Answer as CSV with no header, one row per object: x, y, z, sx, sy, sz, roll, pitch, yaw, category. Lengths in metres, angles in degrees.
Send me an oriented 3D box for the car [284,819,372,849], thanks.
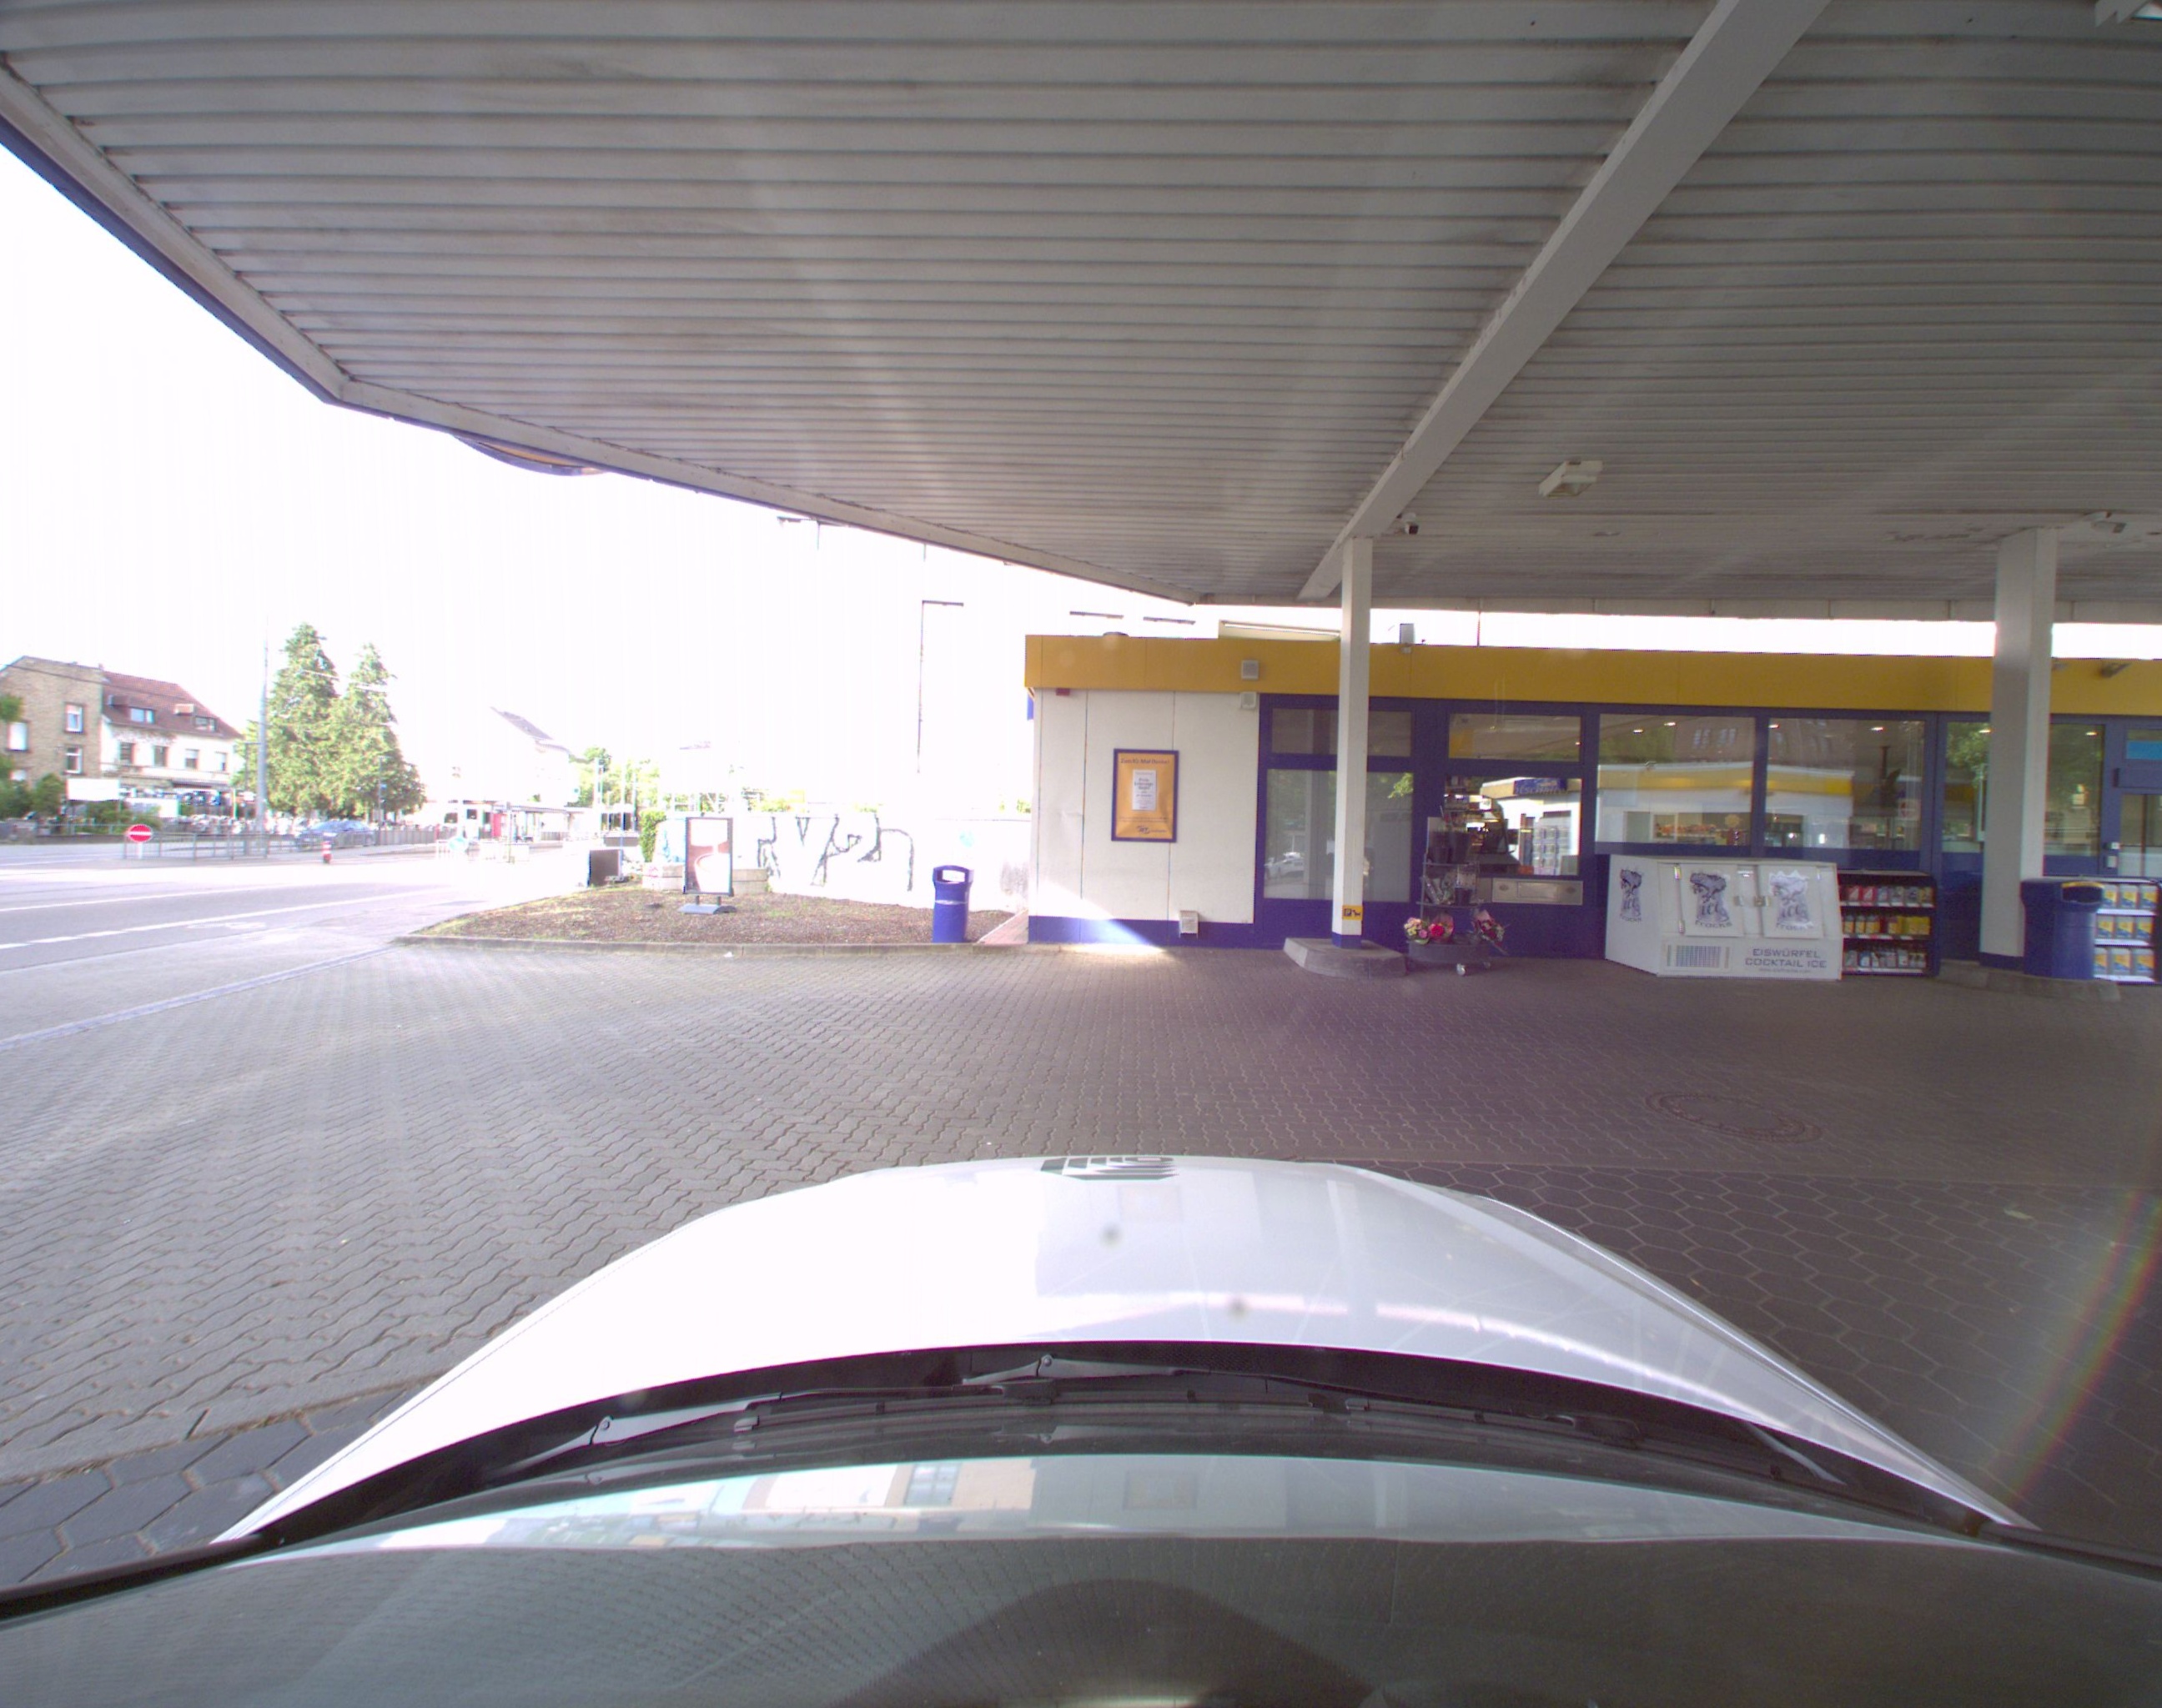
-39.449,-1.038,42.802,1.863,1.469,4.113,1,1,-19,car
